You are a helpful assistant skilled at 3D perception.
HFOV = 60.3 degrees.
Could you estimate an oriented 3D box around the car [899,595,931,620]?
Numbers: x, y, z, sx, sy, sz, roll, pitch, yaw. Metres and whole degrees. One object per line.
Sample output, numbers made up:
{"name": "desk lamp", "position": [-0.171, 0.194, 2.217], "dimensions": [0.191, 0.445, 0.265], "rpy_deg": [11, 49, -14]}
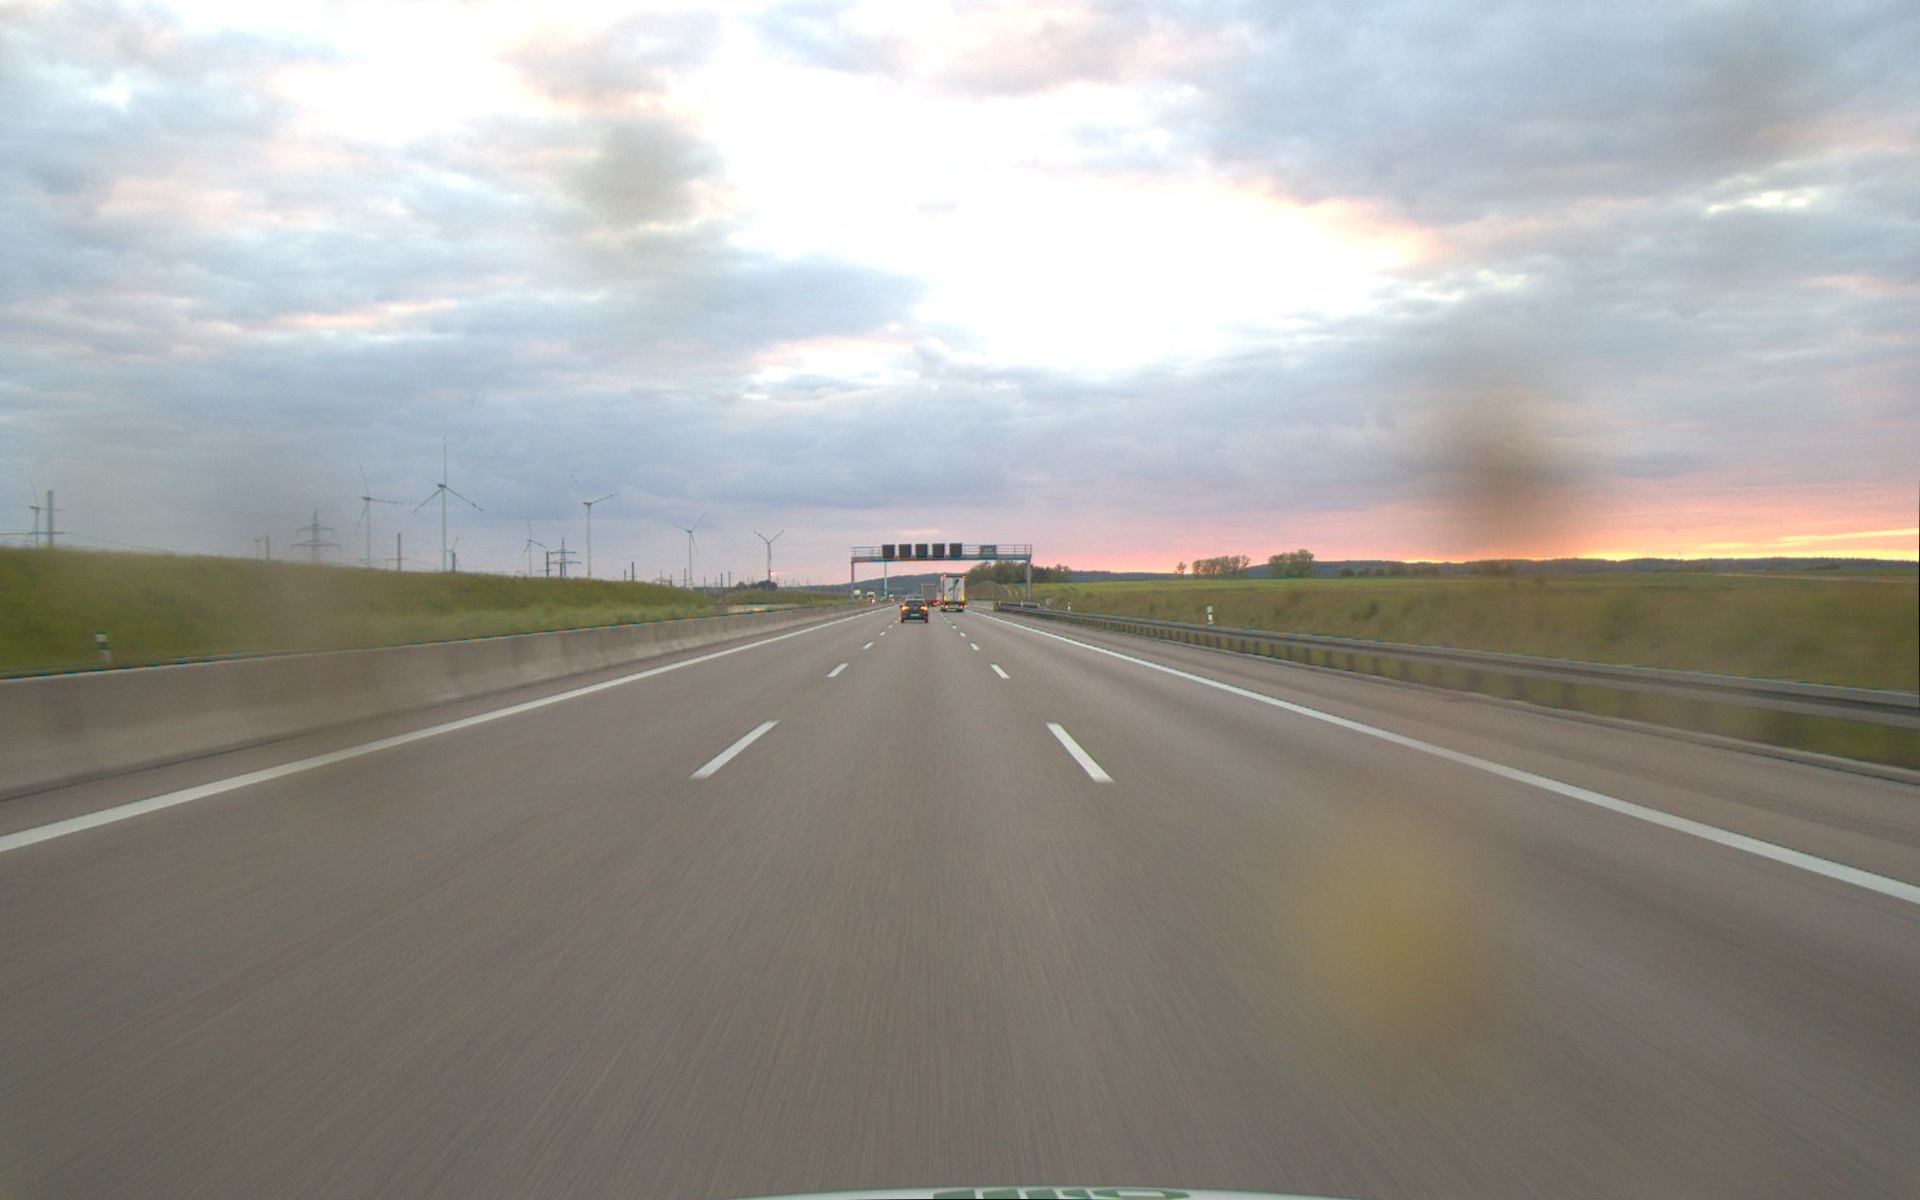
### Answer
{"name": "car", "position": [-2.777, 0.443, 102.993], "dimensions": [1.947, 1.454, 3.999], "rpy_deg": [-1, 0, -1]}

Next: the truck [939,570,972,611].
{"name": "truck", "position": [-0.600, -1.117, 193.016], "dimensions": [3.601, 4.644, 10.978], "rpy_deg": [-1, 0, -1]}
